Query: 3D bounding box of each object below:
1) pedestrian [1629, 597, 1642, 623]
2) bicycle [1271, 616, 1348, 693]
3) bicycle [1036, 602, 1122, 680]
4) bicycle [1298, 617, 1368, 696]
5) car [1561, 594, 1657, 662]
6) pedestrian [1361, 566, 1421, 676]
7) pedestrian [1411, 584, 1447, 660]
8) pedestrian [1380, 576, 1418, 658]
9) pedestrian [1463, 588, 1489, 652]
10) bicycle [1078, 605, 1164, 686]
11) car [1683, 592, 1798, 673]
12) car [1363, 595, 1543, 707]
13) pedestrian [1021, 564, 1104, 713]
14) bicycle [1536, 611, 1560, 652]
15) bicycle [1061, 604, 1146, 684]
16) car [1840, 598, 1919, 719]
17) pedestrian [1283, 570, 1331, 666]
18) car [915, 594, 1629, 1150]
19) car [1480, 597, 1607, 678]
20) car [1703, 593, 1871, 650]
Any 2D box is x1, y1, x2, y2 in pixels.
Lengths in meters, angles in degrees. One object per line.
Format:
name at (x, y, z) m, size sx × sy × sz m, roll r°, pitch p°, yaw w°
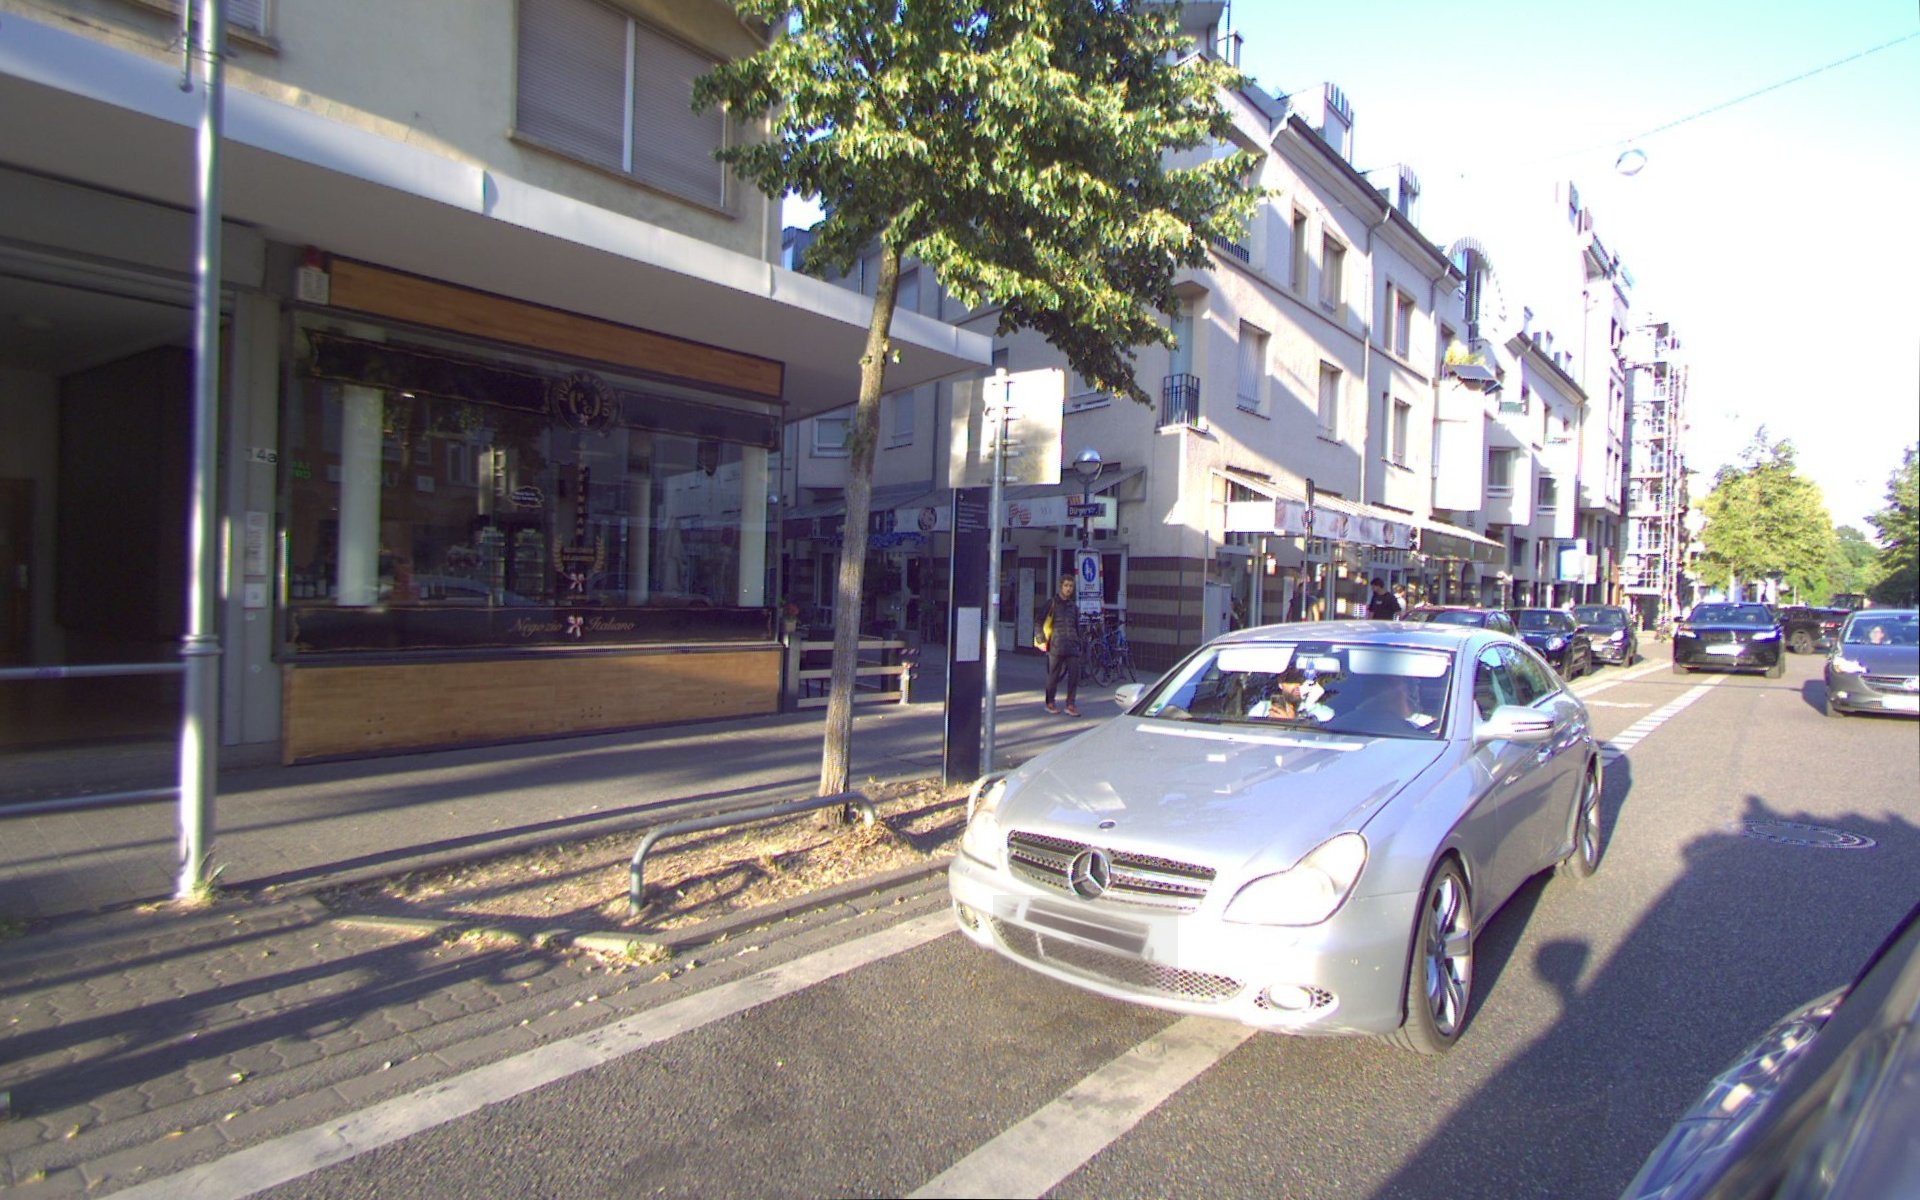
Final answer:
pedestrian at (33.448, 0.492, 50.131) m, size 0.490 × 1.279 × 0.415 m, roll 0°, pitch 0°, yaw 42°
bicycle at (5.227, 0.783, 15.090) m, size 0.314 × 1.059 × 1.853 m, roll 3°, pitch 2°, yaw 43°
bicycle at (1.872, 0.611, 15.717) m, size 0.320 × 1.118 × 1.851 m, roll 2°, pitch 1°, yaw 41°
bicycle at (5.498, 0.803, 14.859) m, size 0.314 × 1.059 × 1.638 m, roll 3°, pitch 2°, yaw 43°
car at (17.143, 0.678, 26.663) m, size 1.615 × 1.612 × 3.868 m, roll 2°, pitch 1°, yaw 40°
pedestrian at (7.706, 0.373, 18.106) m, size 0.776 × 1.907 × 0.660 m, roll -2°, pitch -2°, yaw 41°
pedestrian at (10.344, 0.477, 22.307) m, size 0.519 × 1.612 × 0.402 m, roll 5°, pitch 3°, yaw 41°
pedestrian at (9.835, 0.367, 22.651) m, size 0.543 × 1.779 × 0.495 m, roll 5°, pitch 3°, yaw 41°
pedestrian at (14.847, 0.555, 29.132) m, size 0.574 × 1.823 × 0.443 m, roll 0°, pitch 0°, yaw 42°
bicycle at (2.438, 0.644, 15.154) m, size 0.320 × 1.118 × 1.851 m, roll 2°, pitch 1°, yaw 41°
car at (17.944, 0.673, 23.192) m, size 1.884 × 1.656 × 4.165 m, roll 0°, pitch 0°, yaw 41°
car at (7.782, 0.695, 15.792) m, size 1.587 × 1.451 × 3.868 m, roll 4°, pitch 2°, yaw 40°
pedestrian at (1.215, 0.440, 12.092) m, size 0.688 × 1.696 × 0.799 m, roll 2°, pitch 2°, yaw -13°
bicycle at (16.263, 0.857, 27.985) m, size 0.295 × 1.099 × 1.441 m, roll 1°, pitch 1°, yaw 41°
bicycle at (2.204, 0.633, 15.360) m, size 0.290 × 1.118 × 1.859 m, roll 2°, pitch 1°, yaw 41°
car at (13.149, 0.730, 13.853) m, size 1.616 × 1.492 × 3.634 m, roll 0°, pitch 0°, yaw 41°
pedestrian at (6.662, 0.329, 19.423) m, size 0.629 × 1.771 × 0.660 m, roll 3°, pitch 2°, yaw 41°
car at (1.957, 0.711, 5.010) m, size 1.740 × 1.418 × 4.572 m, roll 1°, pitch 1°, yaw 40°
car at (12.245, 0.712, 21.119) m, size 1.615 × 1.452 × 3.868 m, roll 3°, pitch 2°, yaw 40°
car at (28.660, 0.696, 35.182) m, size 1.705 × 1.696 × 4.290 m, roll 1°, pitch 2°, yaw -40°
